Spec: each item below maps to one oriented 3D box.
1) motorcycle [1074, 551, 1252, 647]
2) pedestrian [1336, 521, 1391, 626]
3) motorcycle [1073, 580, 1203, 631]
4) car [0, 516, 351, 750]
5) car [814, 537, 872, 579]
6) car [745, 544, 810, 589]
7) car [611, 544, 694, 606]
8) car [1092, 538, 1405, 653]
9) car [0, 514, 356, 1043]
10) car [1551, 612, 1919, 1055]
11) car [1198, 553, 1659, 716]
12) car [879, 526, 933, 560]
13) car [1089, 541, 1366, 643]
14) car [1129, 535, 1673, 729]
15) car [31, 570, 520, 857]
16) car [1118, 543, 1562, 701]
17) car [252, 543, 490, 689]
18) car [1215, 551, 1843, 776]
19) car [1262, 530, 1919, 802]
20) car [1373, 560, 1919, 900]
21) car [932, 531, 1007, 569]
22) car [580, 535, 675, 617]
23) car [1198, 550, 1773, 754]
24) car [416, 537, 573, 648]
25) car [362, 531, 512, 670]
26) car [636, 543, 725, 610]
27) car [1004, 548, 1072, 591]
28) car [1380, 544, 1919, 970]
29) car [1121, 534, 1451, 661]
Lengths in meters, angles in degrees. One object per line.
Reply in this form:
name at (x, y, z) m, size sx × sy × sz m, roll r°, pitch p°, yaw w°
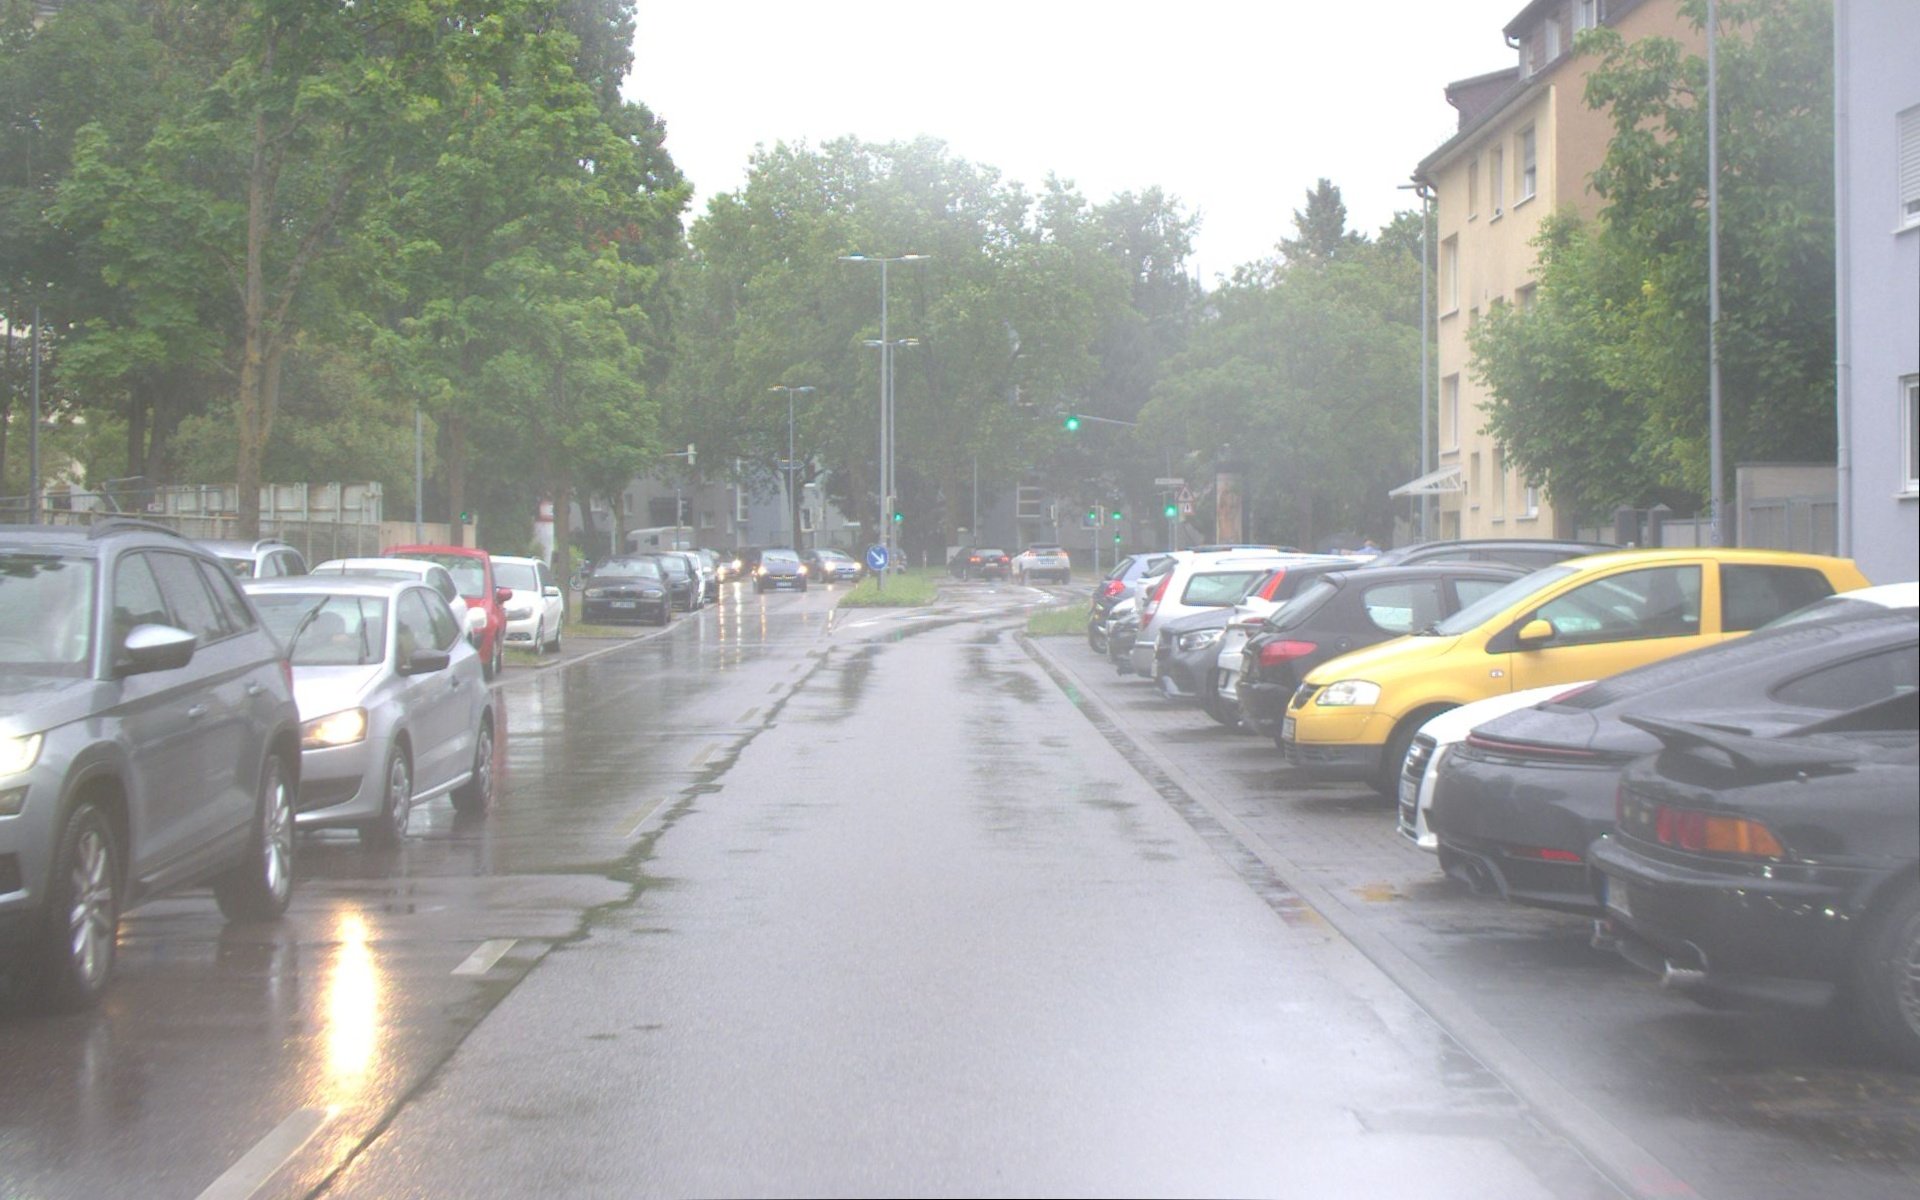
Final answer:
motorcycle at (2.866, -0.018, 48.688) m, size 2.398 × 1.319 × 0.920 m, roll 1°, pitch 0°, yaw -5°
pedestrian at (7.871, -0.521, 66.996) m, size 1.011 × 2.007 × 0.952 m, roll 1°, pitch 0°, yaw 9°
motorcycle at (2.914, 0.089, 56.191) m, size 2.073 × 0.790 × 0.710 m, roll 1°, pitch 1°, yaw 6°
car at (-6.247, 0.192, 27.865) m, size 1.775 × 1.674 × 4.601 m, roll 2°, pitch 1°, yaw 0°
car at (-4.835, -1.720, 141.769) m, size 1.740 × 1.683 × 4.001 m, roll 1°, pitch 1°, yaw -11°
car at (-6.266, -1.143, 117.694) m, size 1.993 × 1.480 × 4.001 m, roll 1°, pitch 1°, yaw -6°
car at (-7.601, -0.647, 85.286) m, size 1.928 × 1.479 × 4.001 m, roll -1°, pitch 1°, yaw -4°
car at (3.888, -0.073, 46.784) m, size 3.986 × 1.485 × 1.863 m, roll 1°, pitch 1°, yaw -3°
car at (-3.712, 0.514, 13.040) m, size 1.914 × 1.634 × 4.821 m, roll 1°, pitch 1°, yaw 1°
car at (3.905, 0.666, 10.605) m, size 3.854 × 1.203 × 1.956 m, roll 0°, pitch 1°, yaw 1°
car at (4.290, 0.300, 31.936) m, size 3.987 × 1.407 × 1.845 m, roll 1°, pitch 1°, yaw -1°
car at (-2.430, -2.556, 155.155) m, size 1.849 × 1.519 × 4.001 m, roll 0°, pitch 1°, yaw -10°
car at (3.968, -0.129, 51.568) m, size 3.987 × 1.456 × 1.935 m, roll 1°, pitch 1°, yaw 0°
car at (3.692, 0.253, 29.388) m, size 4.341 × 1.547 × 2.040 m, roll 1°, pitch 1°, yaw -1°
car at (-3.650, 0.541, 19.082) m, size 1.672 × 1.378 × 4.252 m, roll 0°, pitch 1°, yaw 3°
car at (3.759, 0.191, 34.351) m, size 4.270 × 1.449 × 1.984 m, roll 1°, pitch 2°, yaw 5°
car at (-6.229, 0.139, 36.779) m, size 1.661 × 1.455 × 4.173 m, roll 1°, pitch 1°, yaw 2°
car at (3.833, 0.412, 23.645) m, size 3.987 × 1.437 × 1.782 m, roll 1°, pitch 1°, yaw -1°
car at (3.955, 0.379, 21.036) m, size 3.986 × 1.547 × 1.853 m, roll 1°, pitch 1°, yaw -2°
car at (4.320, 0.564, 15.767) m, size 4.628 × 1.431 × 2.000 m, roll 1°, pitch 1°, yaw 1°
car at (0.371, -2.033, 139.371) m, size 1.849 × 1.519 × 4.155 m, roll 0°, pitch 1°, yaw -18°
car at (-6.845, -0.511, 70.486) m, size 1.775 × 1.524 × 4.001 m, roll 1°, pitch 2°, yaw -8°
car at (3.925, 0.365, 26.252) m, size 4.097 × 1.453 × 2.000 m, roll 0°, pitch 1°, yaw 1°
car at (-6.777, -0.130, 50.463) m, size 1.768 × 1.523 × 4.598 m, roll 1°, pitch 1°, yaw -1°
car at (-6.363, -0.017, 42.147) m, size 1.624 × 1.592 × 4.202 m, roll 1°, pitch 1°, yaw -6°
car at (-7.422, -0.626, 91.604) m, size 1.927 × 1.725 × 4.000 m, roll 1°, pitch 1°, yaw 1°
car at (2.830, -1.119, 125.123) m, size 1.849 × 1.519 × 4.001 m, roll 0°, pitch 1°, yaw -8°
car at (3.819, 0.559, 13.145) m, size 4.143 × 1.481 × 2.013 m, roll 1°, pitch 1°, yaw -1°
car at (4.152, -0.046, 44.233) m, size 3.986 × 1.547 × 1.905 m, roll 1°, pitch 1°, yaw -2°
